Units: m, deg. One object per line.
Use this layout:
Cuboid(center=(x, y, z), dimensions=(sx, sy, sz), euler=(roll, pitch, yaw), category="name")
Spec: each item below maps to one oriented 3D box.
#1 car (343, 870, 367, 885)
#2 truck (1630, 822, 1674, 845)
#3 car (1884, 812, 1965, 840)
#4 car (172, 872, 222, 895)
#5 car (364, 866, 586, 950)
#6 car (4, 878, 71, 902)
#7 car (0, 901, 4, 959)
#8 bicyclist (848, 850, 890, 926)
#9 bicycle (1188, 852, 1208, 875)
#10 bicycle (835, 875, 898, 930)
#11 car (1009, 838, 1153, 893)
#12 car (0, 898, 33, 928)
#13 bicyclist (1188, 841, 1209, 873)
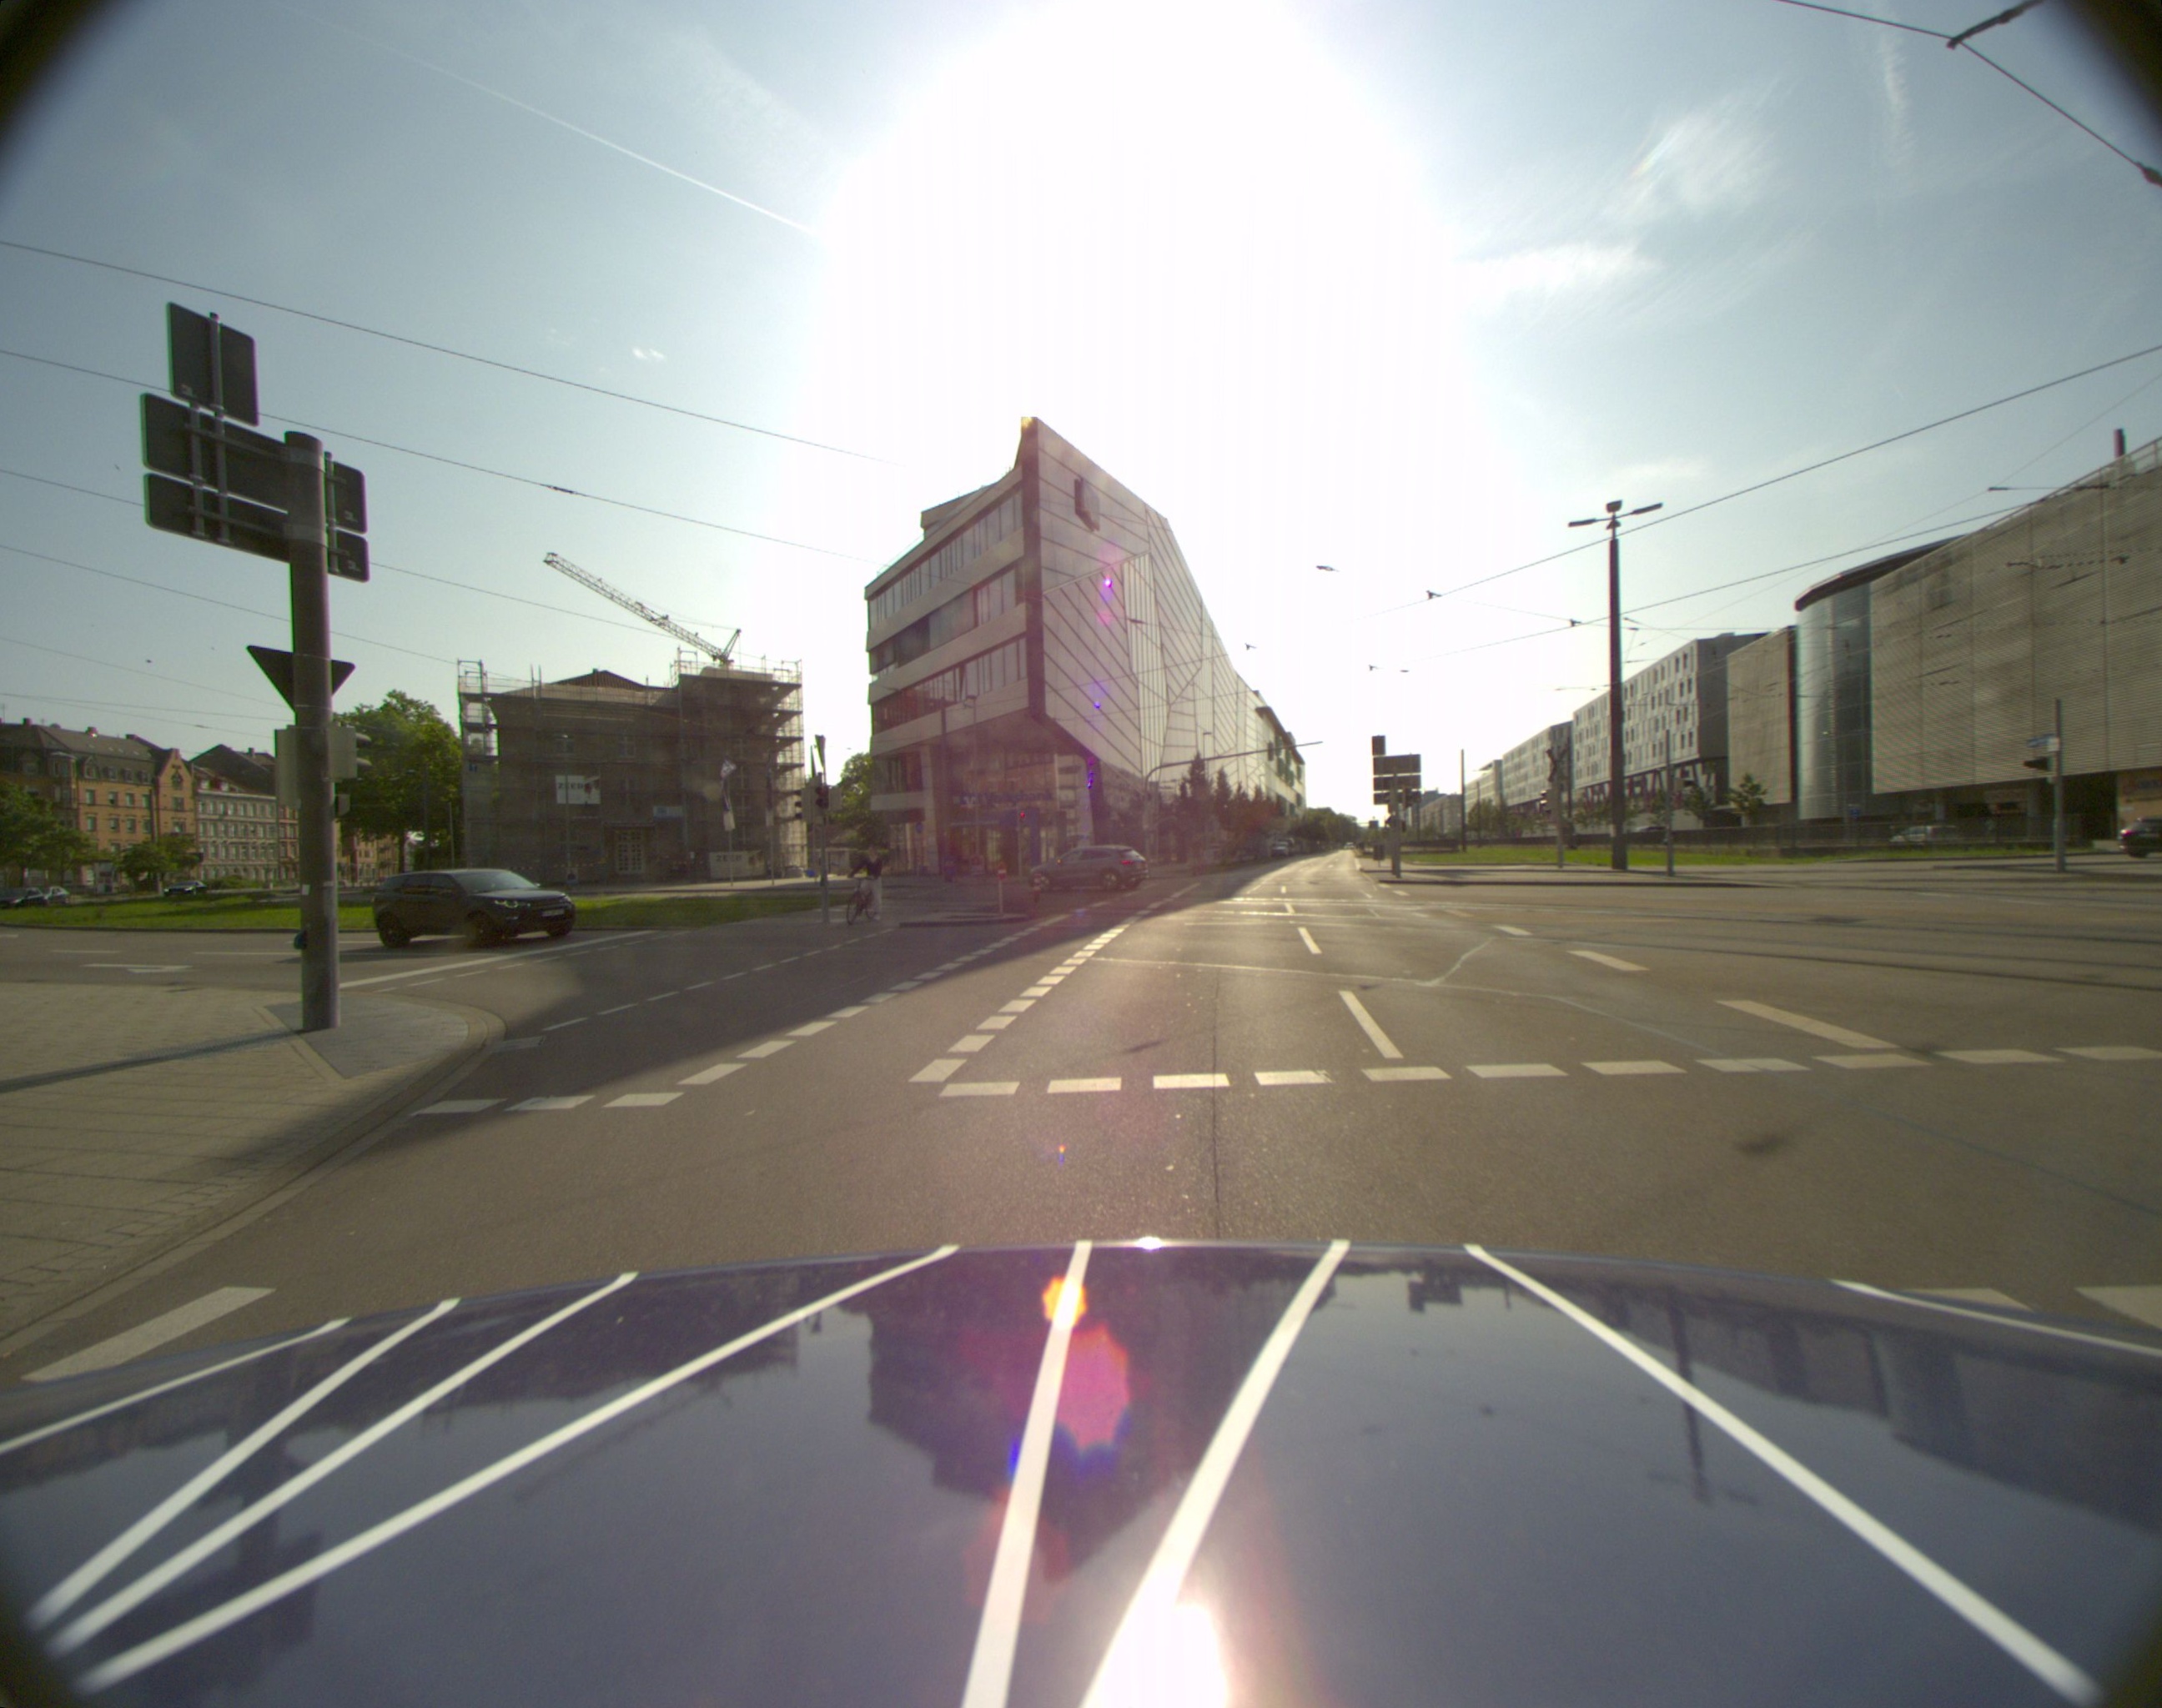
Cuboid(center=(-108.430, 3.480, 113.492), dimensions=(2.003, 1.968, 3.989), euler=(-3, 3, -37), category="car")
Cuboid(center=(61.819, -2.168, 82.291), dimensions=(2.203, 2.308, 4.556), euler=(-2, 1, 14), category="truck")
Cuboid(center=(50.352, -1.696, 45.444), dimensions=(1.740, 1.551, 3.405), euler=(-1, 2, 18), category="car")
Cuboid(center=(-82.523, 2.710, 70.964), dimensions=(2.003, 2.002, 3.990), euler=(-2, 1, -34), category="car")
Cuboid(center=(-13.549, 1.176, 17.031), dimensions=(4.212, 1.668, 1.805), euler=(-2, 0, 18), category="car")
Cuboid(center=(-76.988, 2.627, 56.122), dimensions=(2.003, 1.552, 3.865), euler=(-4, 1, -41), category="car")
Cuboid(center=(-28.358, 1.901, 18.343), dimensions=(3.887, 1.411, 1.646), euler=(-1, 1, 19), category="car")
Cuboid(center=(-4.904, 0.774, 17.576), dimensions=(0.669, 1.693, 0.637), euler=(-1, 3, 8), category="bicyclist")
Cuboid(center=(5.964, 0.483, 38.613), dimensions=(0.418, 1.050, 1.962), euler=(-1, 2, 25), category="bicycle")
Cuboid(center=(-4.912, 1.088, 17.494), dimensions=(0.669, 1.092, 1.805), euler=(-1, 2, 9), category="bicycle")
Cuboid(center=(-0.032, 0.394, 27.537), dimensions=(4.802, 1.773, 1.958), euler=(-1, 3, 28), category="car")
Cuboid(center=(-64.820, 3.558, 45.600), dimensions=(3.989, 1.625, 1.660), euler=(-1, 1, 45), category="car")
Cuboid(center=(5.973, 0.167, 38.577), dimensions=(0.781, 1.577, 0.933), euler=(-1, 3, 25), category="bicyclist")
